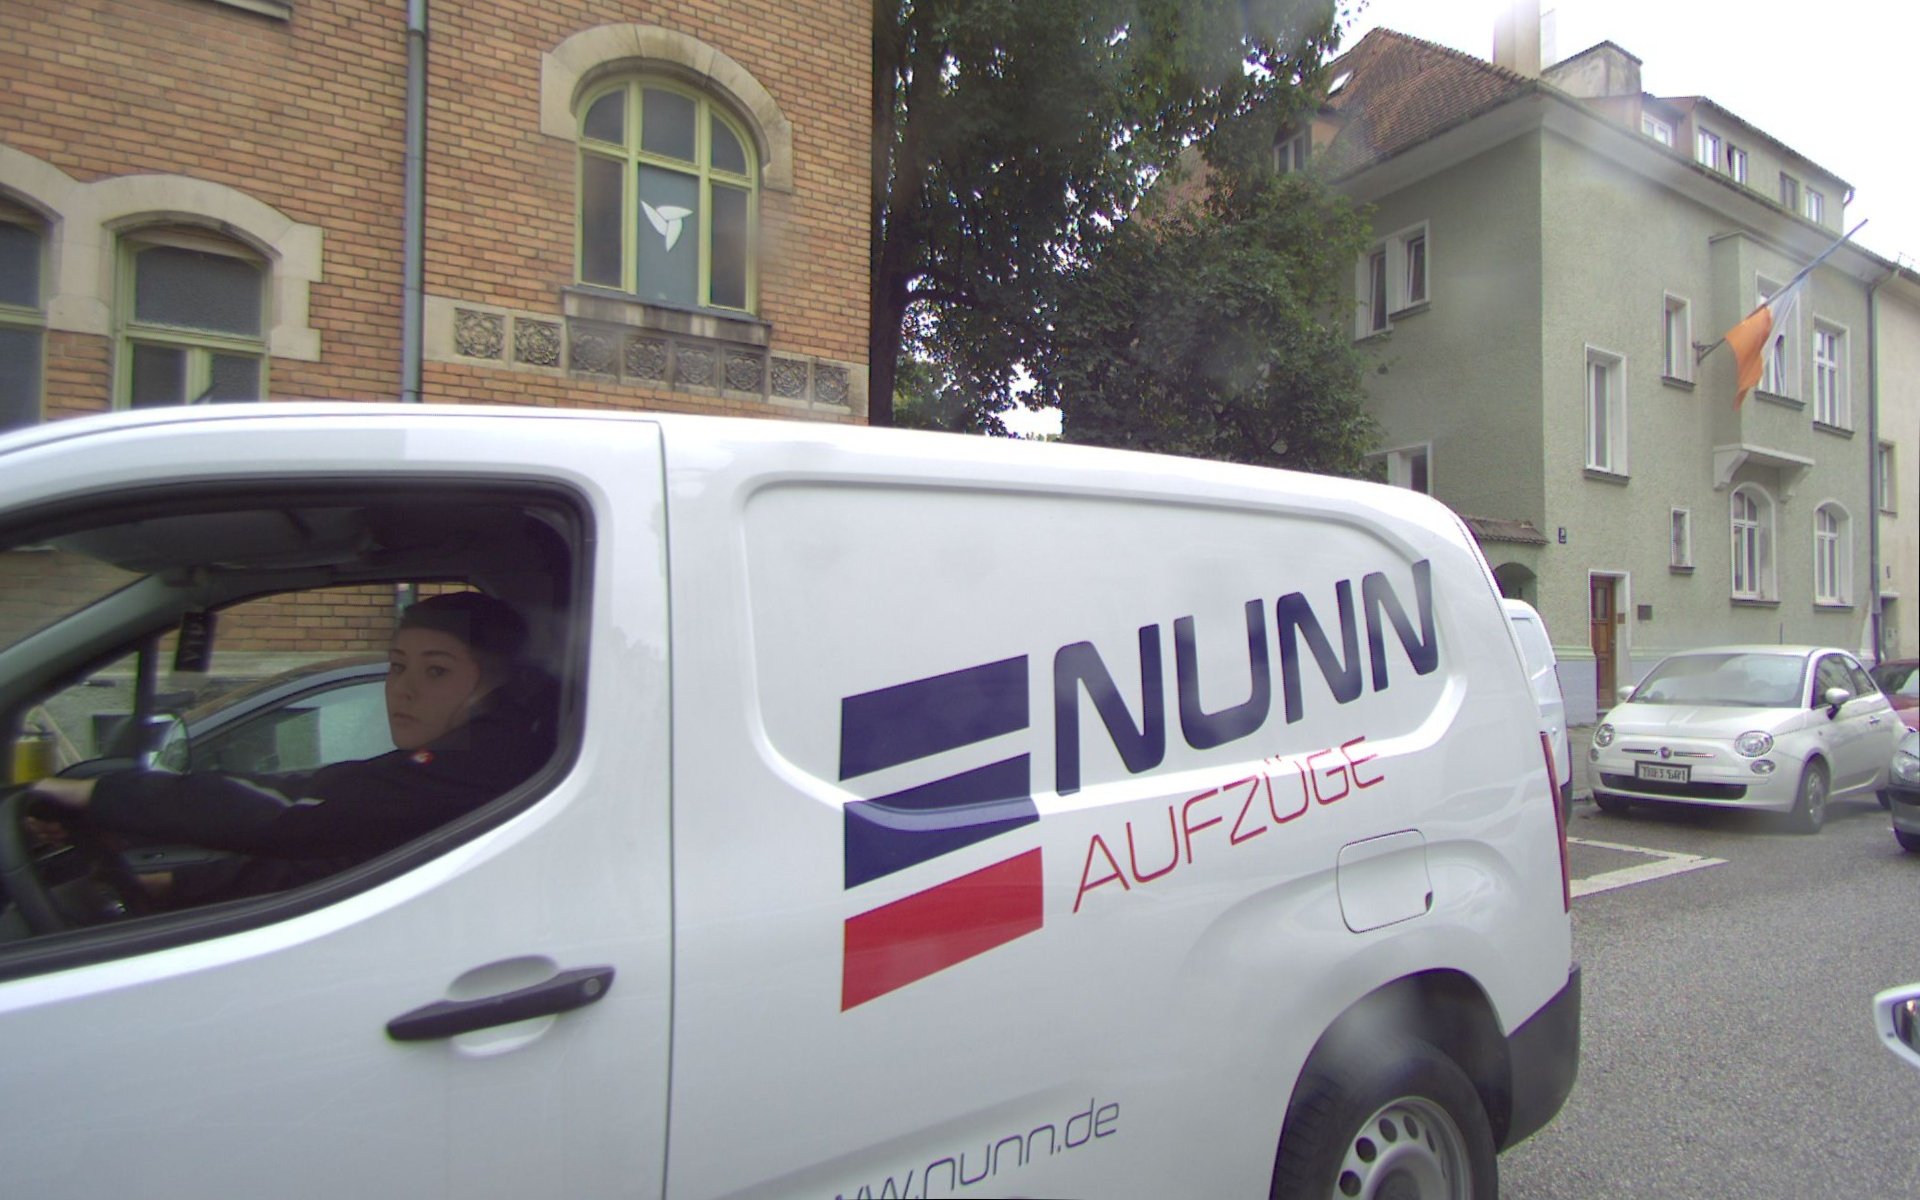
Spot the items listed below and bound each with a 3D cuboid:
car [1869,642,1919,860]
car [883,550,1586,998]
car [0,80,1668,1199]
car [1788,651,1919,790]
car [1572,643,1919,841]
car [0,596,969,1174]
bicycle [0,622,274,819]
[{"bbox_3d":[8.127,1.035,7.063,3.571,1.429,1.574,2,-3,-31],"label":"car"},{"bbox_3d":[1.746,0.796,5.947,4.100,1.827,1.681,1,-4,-32],"label":"car"},{"bbox_3d":[-0.787,0.487,1.942,4.517,1.827,1.764,1,-3,-30],"label":"car"},{"bbox_3d":[11.656,1.335,11.706,4.287,1.430,1.851,2,-5,-33],"label":"car"},{"bbox_3d":[7.153,1.143,9.086,3.277,1.485,1.465,2,-4,-33],"label":"car"},{"bbox_3d":[-2.140,0.783,3.733,4.098,1.461,1.682,1,-4,-31],"label":"car"},{"bbox_3d":[-5.451,0.717,6.317,1.806,1.143,0.628,1,-2,-30],"label":"bicycle"}]
